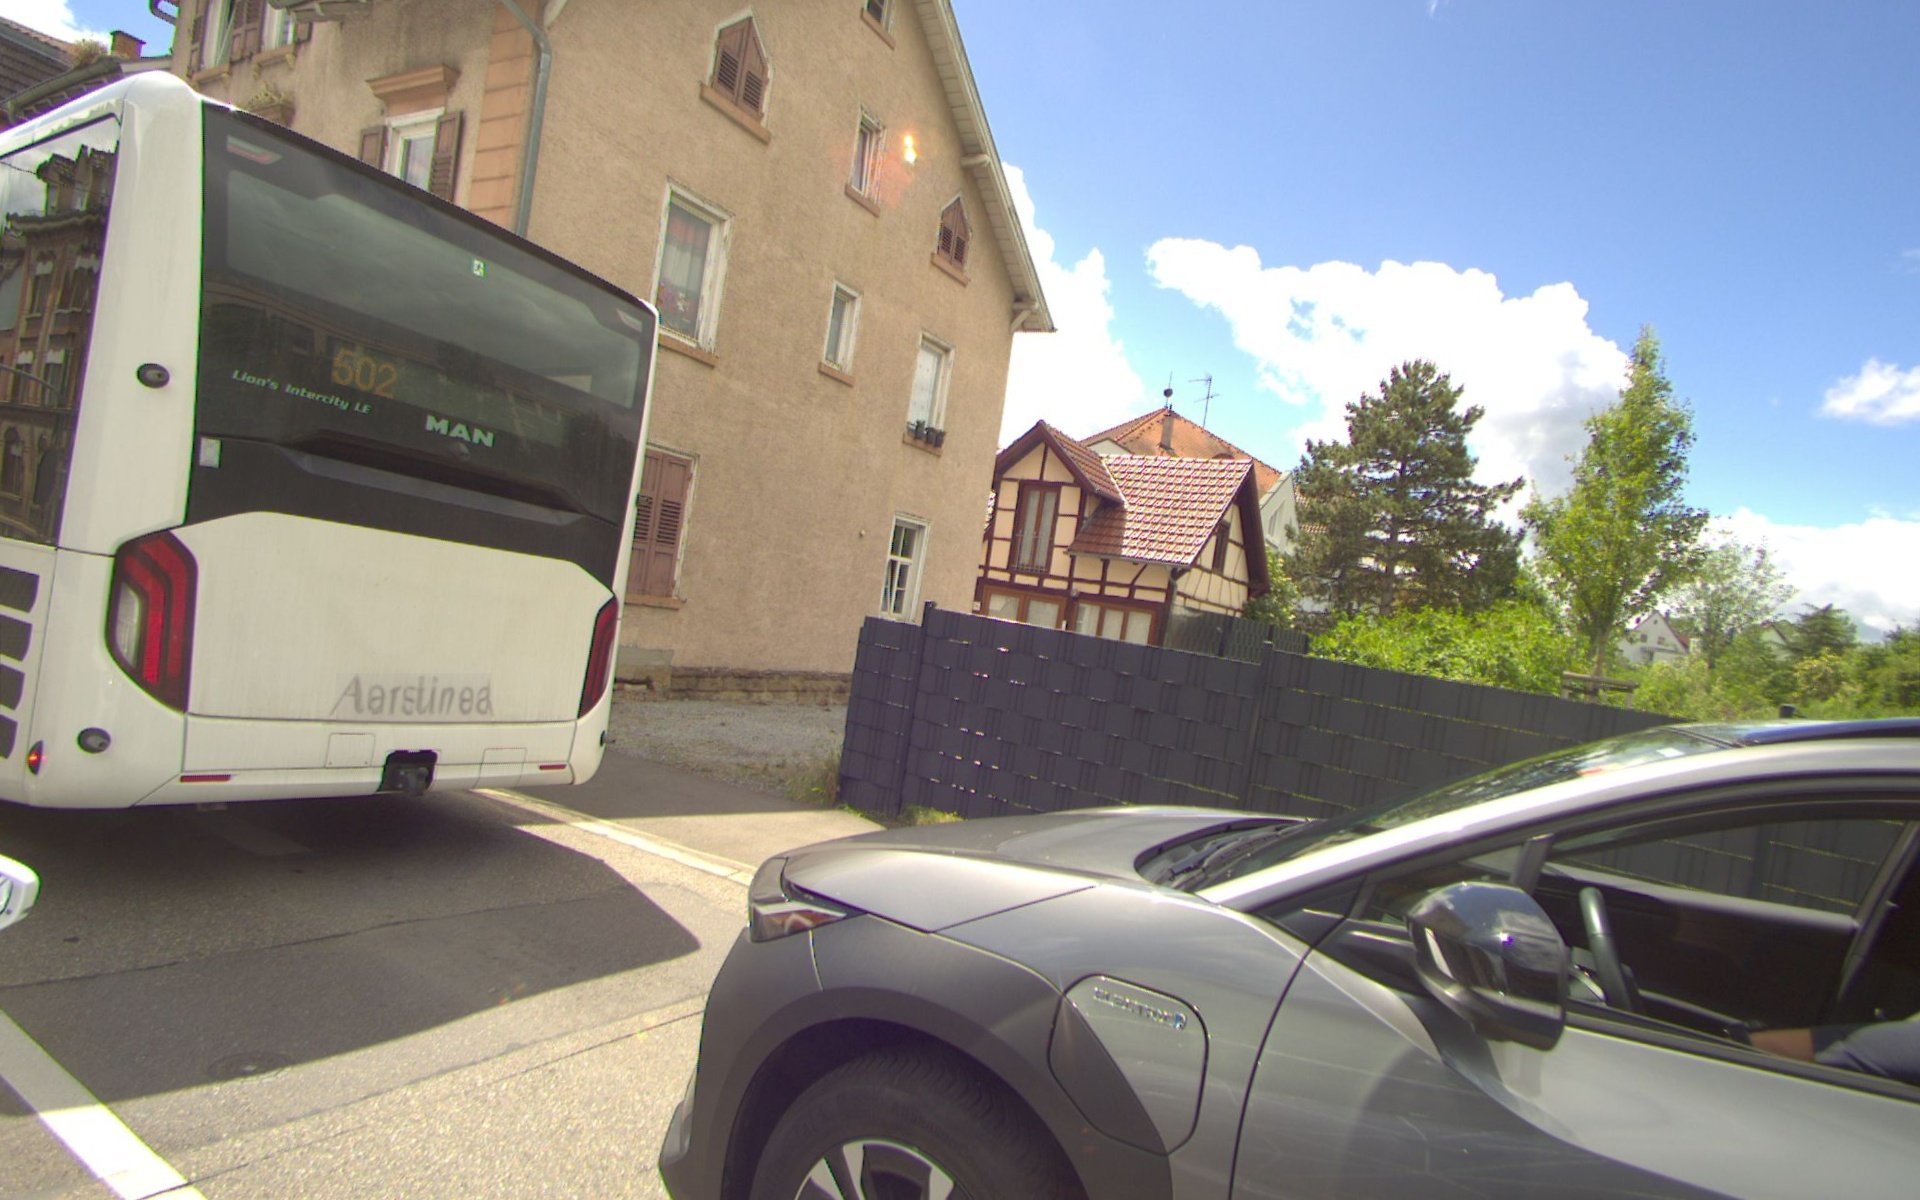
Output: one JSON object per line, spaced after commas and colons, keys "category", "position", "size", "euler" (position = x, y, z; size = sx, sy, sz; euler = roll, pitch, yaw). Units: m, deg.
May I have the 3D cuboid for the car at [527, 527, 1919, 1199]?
{"category": "car", "position": [1.555, 0.971, 1.867], "size": [4.504, 1.648, 1.997], "euler": [7, -1, 31]}

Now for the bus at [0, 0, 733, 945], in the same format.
{"category": "bus", "position": [-7.458, -1.033, 7.803], "size": [12.281, 3.551, 2.910], "euler": [6, -2, 32]}
